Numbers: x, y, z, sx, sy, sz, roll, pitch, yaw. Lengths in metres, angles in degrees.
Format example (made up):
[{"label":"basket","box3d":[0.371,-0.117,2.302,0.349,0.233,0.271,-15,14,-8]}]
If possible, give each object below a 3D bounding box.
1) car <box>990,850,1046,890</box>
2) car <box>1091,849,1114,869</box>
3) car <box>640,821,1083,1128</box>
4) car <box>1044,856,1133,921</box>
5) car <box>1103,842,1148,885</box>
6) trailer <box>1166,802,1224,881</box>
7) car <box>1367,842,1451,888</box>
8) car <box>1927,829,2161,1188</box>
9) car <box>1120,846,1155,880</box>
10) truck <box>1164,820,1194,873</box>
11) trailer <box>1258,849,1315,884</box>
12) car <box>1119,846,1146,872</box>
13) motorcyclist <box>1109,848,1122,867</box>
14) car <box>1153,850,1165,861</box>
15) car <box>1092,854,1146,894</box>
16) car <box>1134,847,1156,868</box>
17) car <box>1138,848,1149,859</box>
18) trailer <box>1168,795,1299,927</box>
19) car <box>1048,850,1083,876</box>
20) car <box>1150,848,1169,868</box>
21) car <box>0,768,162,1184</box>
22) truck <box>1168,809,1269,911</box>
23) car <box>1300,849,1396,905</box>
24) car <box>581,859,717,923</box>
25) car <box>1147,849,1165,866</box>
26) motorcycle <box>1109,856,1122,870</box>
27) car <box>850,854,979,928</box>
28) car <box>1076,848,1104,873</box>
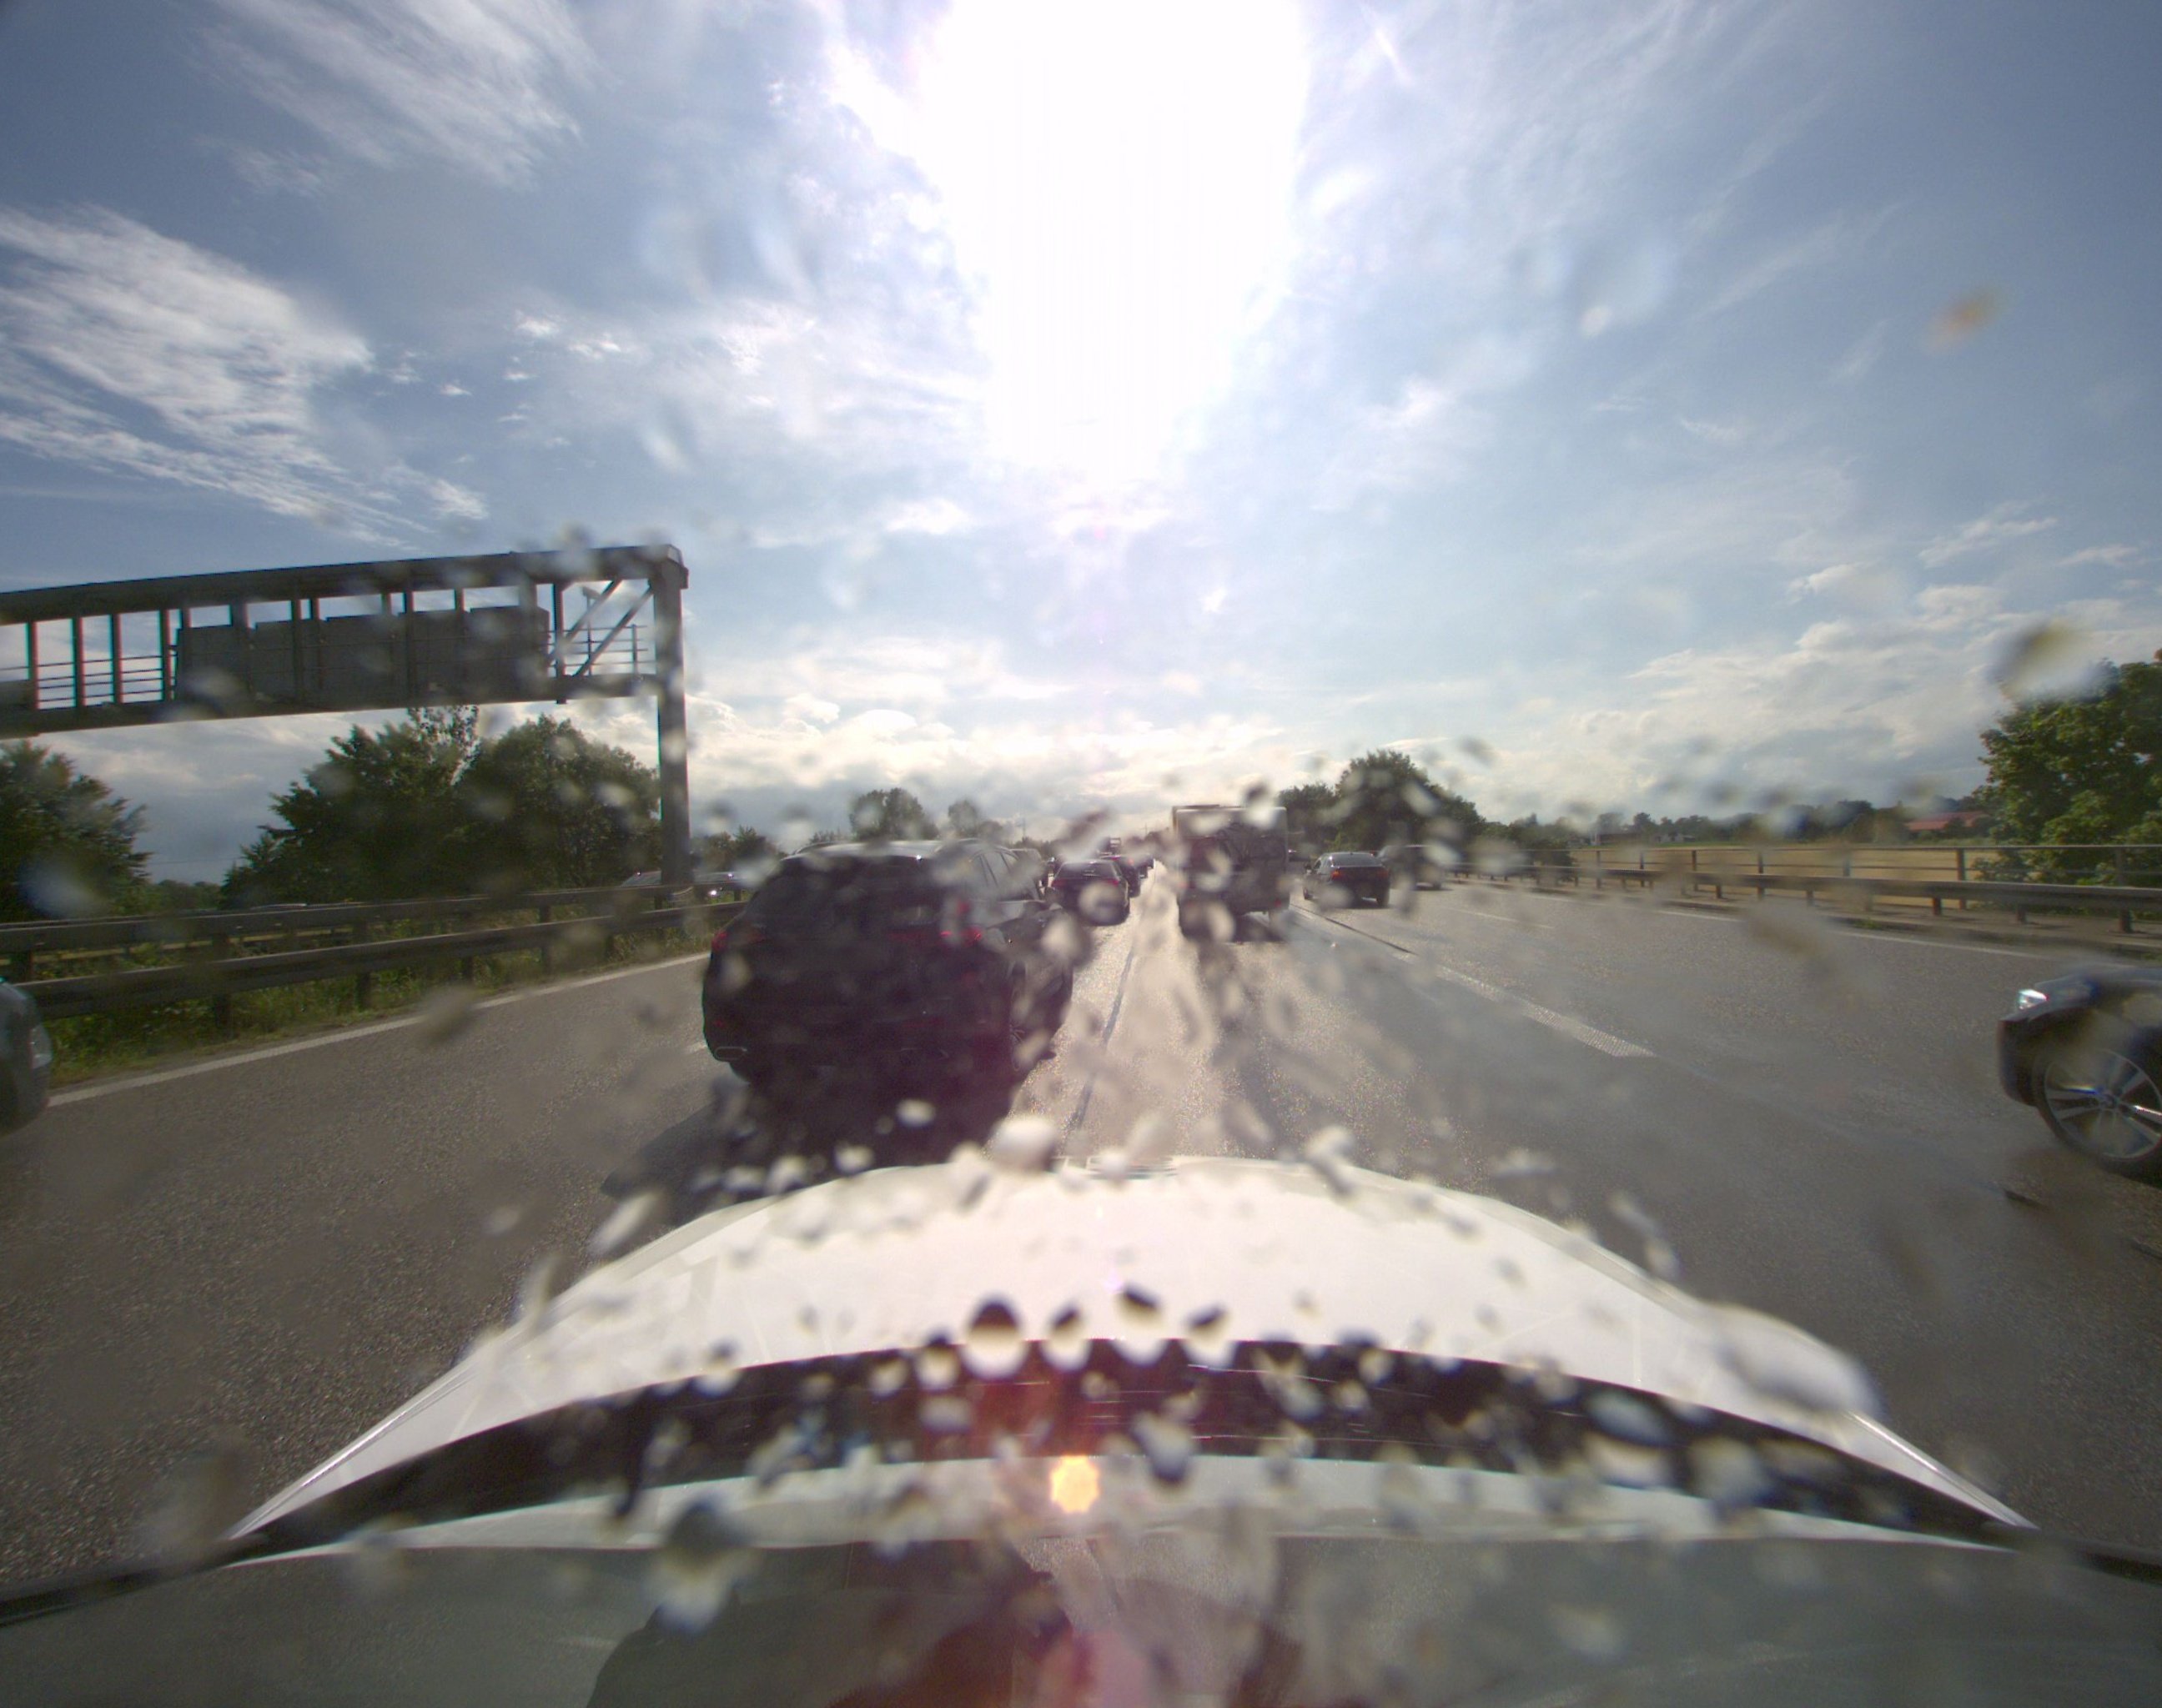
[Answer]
[{"label":"car","box3d":[-2.834,0.699,37.672,1.984,1.720,4.004,-1,0,4]},{"label":"car","box3d":[2.243,0.500,82.643,1.983,2.013,4.007,-1,0,6]},{"label":"car","box3d":[-1.239,0.684,6.699,1.983,1.661,4.414,-1,0,6]},{"label":"car","box3d":[0.288,0.769,19.893,1.748,1.387,3.952,-2,0,6]},{"label":"car","box3d":[2.293,0.464,40.711,1.983,2.013,4.007,-1,0,6]},{"label":"trailer","box3d":[6.701,-0.667,47.932,2.990,4.166,8.554,-1,0,8]},{"label":"car","box3d":[12.380,0.381,31.019,1.779,1.613,4.392,-2,0,6]},{"label":"car","box3d":[5.207,0.605,2.108,1.839,1.464,4.262,-2,0,6]},{"label":"car","box3d":[3.604,0.533,51.539,1.983,2.013,4.007,2,0,6]},{"label":"truck","box3d":[9.303,-0.639,78.207,2.490,4.829,7.552,-1,0,4]},{"label":"trailer","box3d":[9.300,0.540,37.162,1.845,1.442,4.154,-2,0,5]},{"label":"car","box3d":[4.145,0.399,65.062,1.983,2.013,4.007,-1,0,6]},{"label":"motorcyclist","box3d":[3.216,0.326,75.801,1.058,1.718,0.786,-1,-1,6]},{"label":"car","box3d":[12.788,0.211,133.687,1.868,1.760,4.003,-1,0,3]},{"label":"car","box3d":[1.493,0.713,30.709,1.797,1.407,4.006,-1,0,6]},{"label":"car","box3d":[6.238,0.343,78.687,1.983,2.013,4.007,-1,0,6]},{"label":"car","box3d":[10.609,-0.093,138.501,1.868,1.760,4.003,-1,0,3]},{"label":"trailer","box3d":[3.263,0.147,18.812,2.362,2.483,6.533,-1,0,5]},{"label":"car","box3d":[-1.052,0.621,57.881,1.983,1.772,4.007,-2,0,6]},{"label":"car","box3d":[8.439,0.401,87.071,1.983,2.013,4.007,0,0,6]},{"label":"car","box3d":[-6.427,0.620,2.031,1.984,2.013,5.277,-2,0,5]},{"label":"truck","box3d":[3.674,0.160,22.911,2.363,2.477,5.764,-1,0,5]},{"label":"car","box3d":[7.405,0.594,22.948,1.732,1.420,3.841,-2,0,5]},{"label":"car","box3d":[-15.128,1.236,28.880,1.984,2.013,4.659,-1,0,5]},{"label":"car","box3d":[9.089,0.407,98.525,1.983,2.013,4.007,2,0,6]},{"label":"motorcycle","box3d":[3.223,0.799,75.746,1.068,1.271,2.695,-1,0,6]},{"label":"car","box3d":[-3.839,0.799,19.558,1.748,1.516,4.216,-2,0,6]},{"label":"car","box3d":[0.803,0.524,70.780,1.983,2.013,4.007,2,0,6]}]
